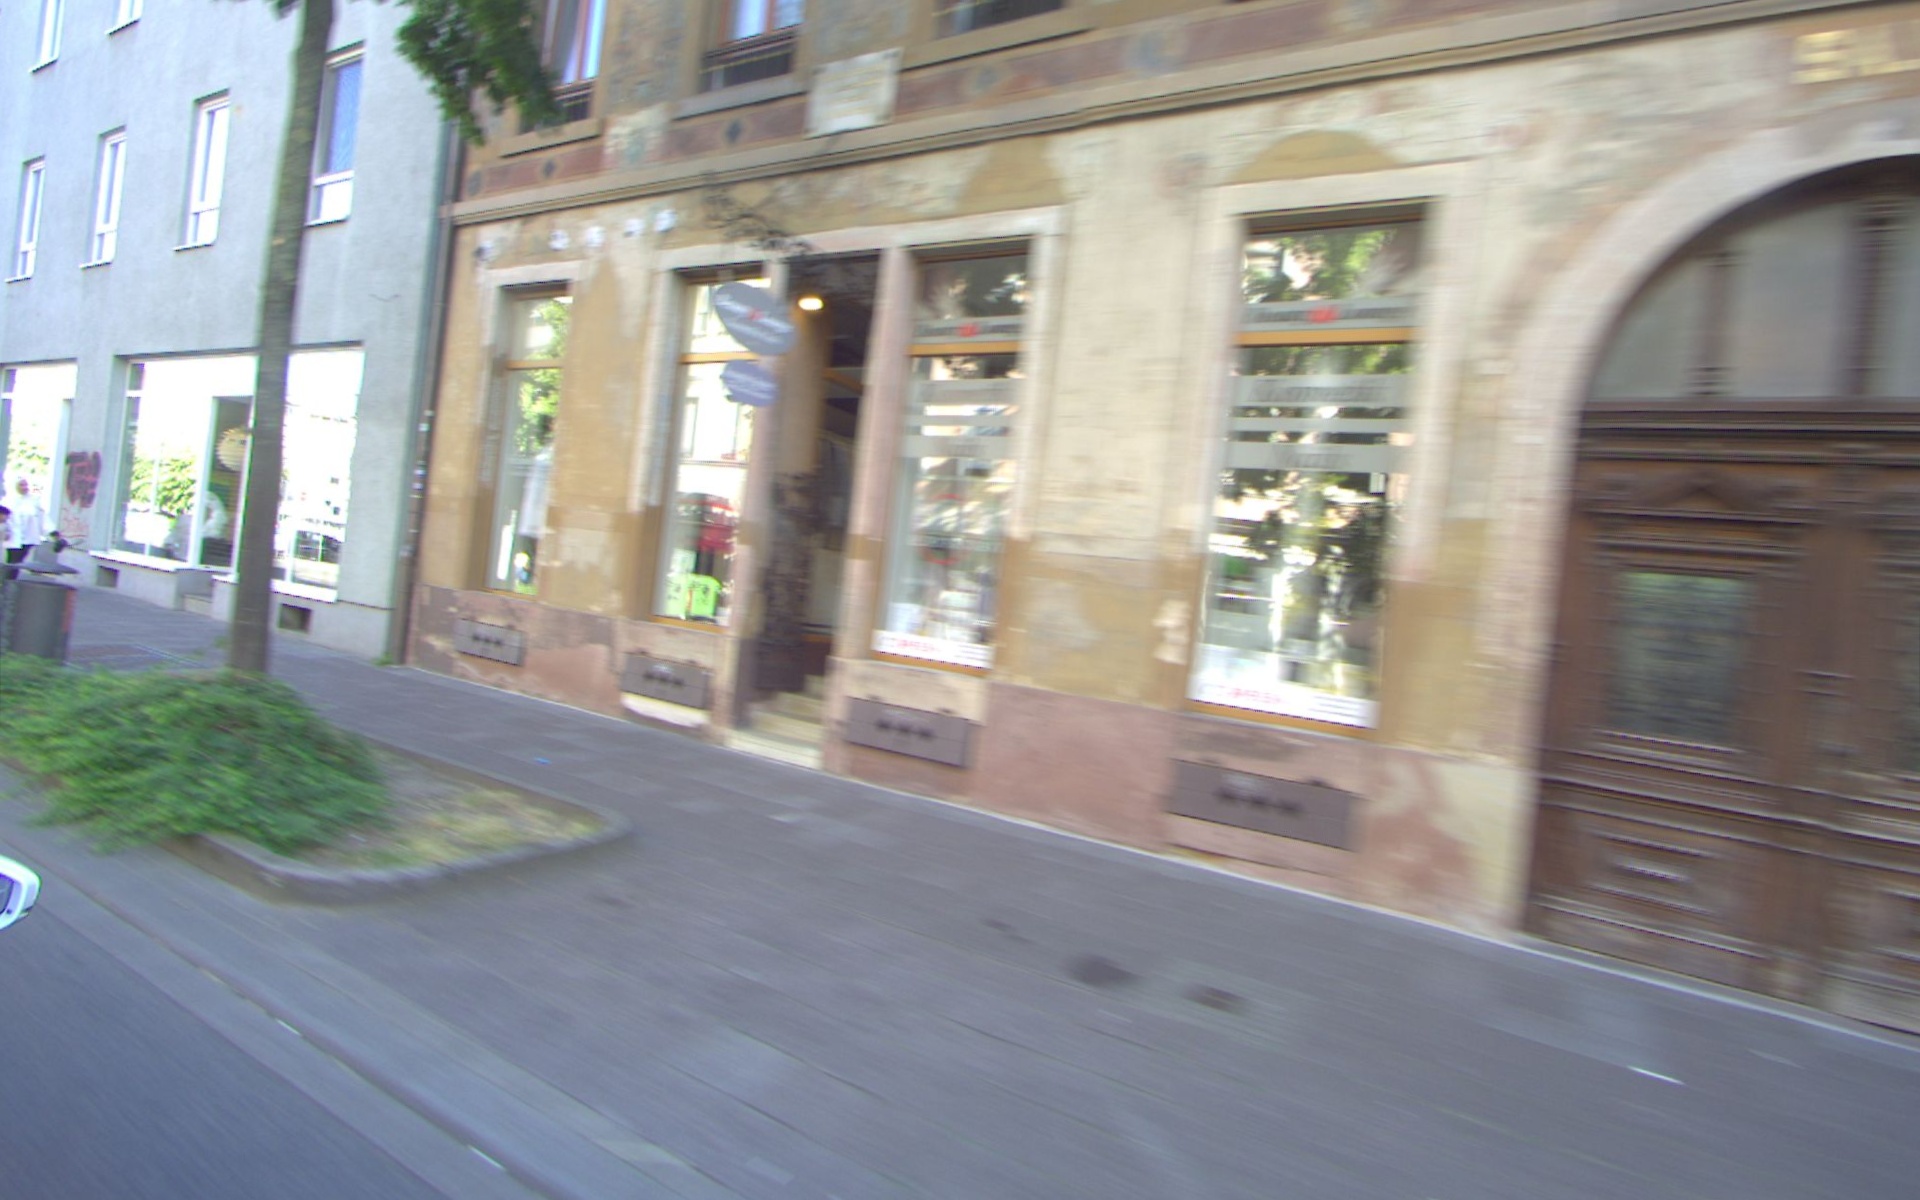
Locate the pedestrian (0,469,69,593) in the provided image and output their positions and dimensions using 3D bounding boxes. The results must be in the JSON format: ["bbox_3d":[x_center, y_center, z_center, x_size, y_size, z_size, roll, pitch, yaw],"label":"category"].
[{"bbox_3d":[-12.546,-0.934,13.493,1.003,1.581,0.580,7,4,30],"label":"pedestrian"}]

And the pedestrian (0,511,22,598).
[{"bbox_3d":[-12.259,-0.593,12.703,0.727,1.047,0.393,7,4,30],"label":"pedestrian"}]
